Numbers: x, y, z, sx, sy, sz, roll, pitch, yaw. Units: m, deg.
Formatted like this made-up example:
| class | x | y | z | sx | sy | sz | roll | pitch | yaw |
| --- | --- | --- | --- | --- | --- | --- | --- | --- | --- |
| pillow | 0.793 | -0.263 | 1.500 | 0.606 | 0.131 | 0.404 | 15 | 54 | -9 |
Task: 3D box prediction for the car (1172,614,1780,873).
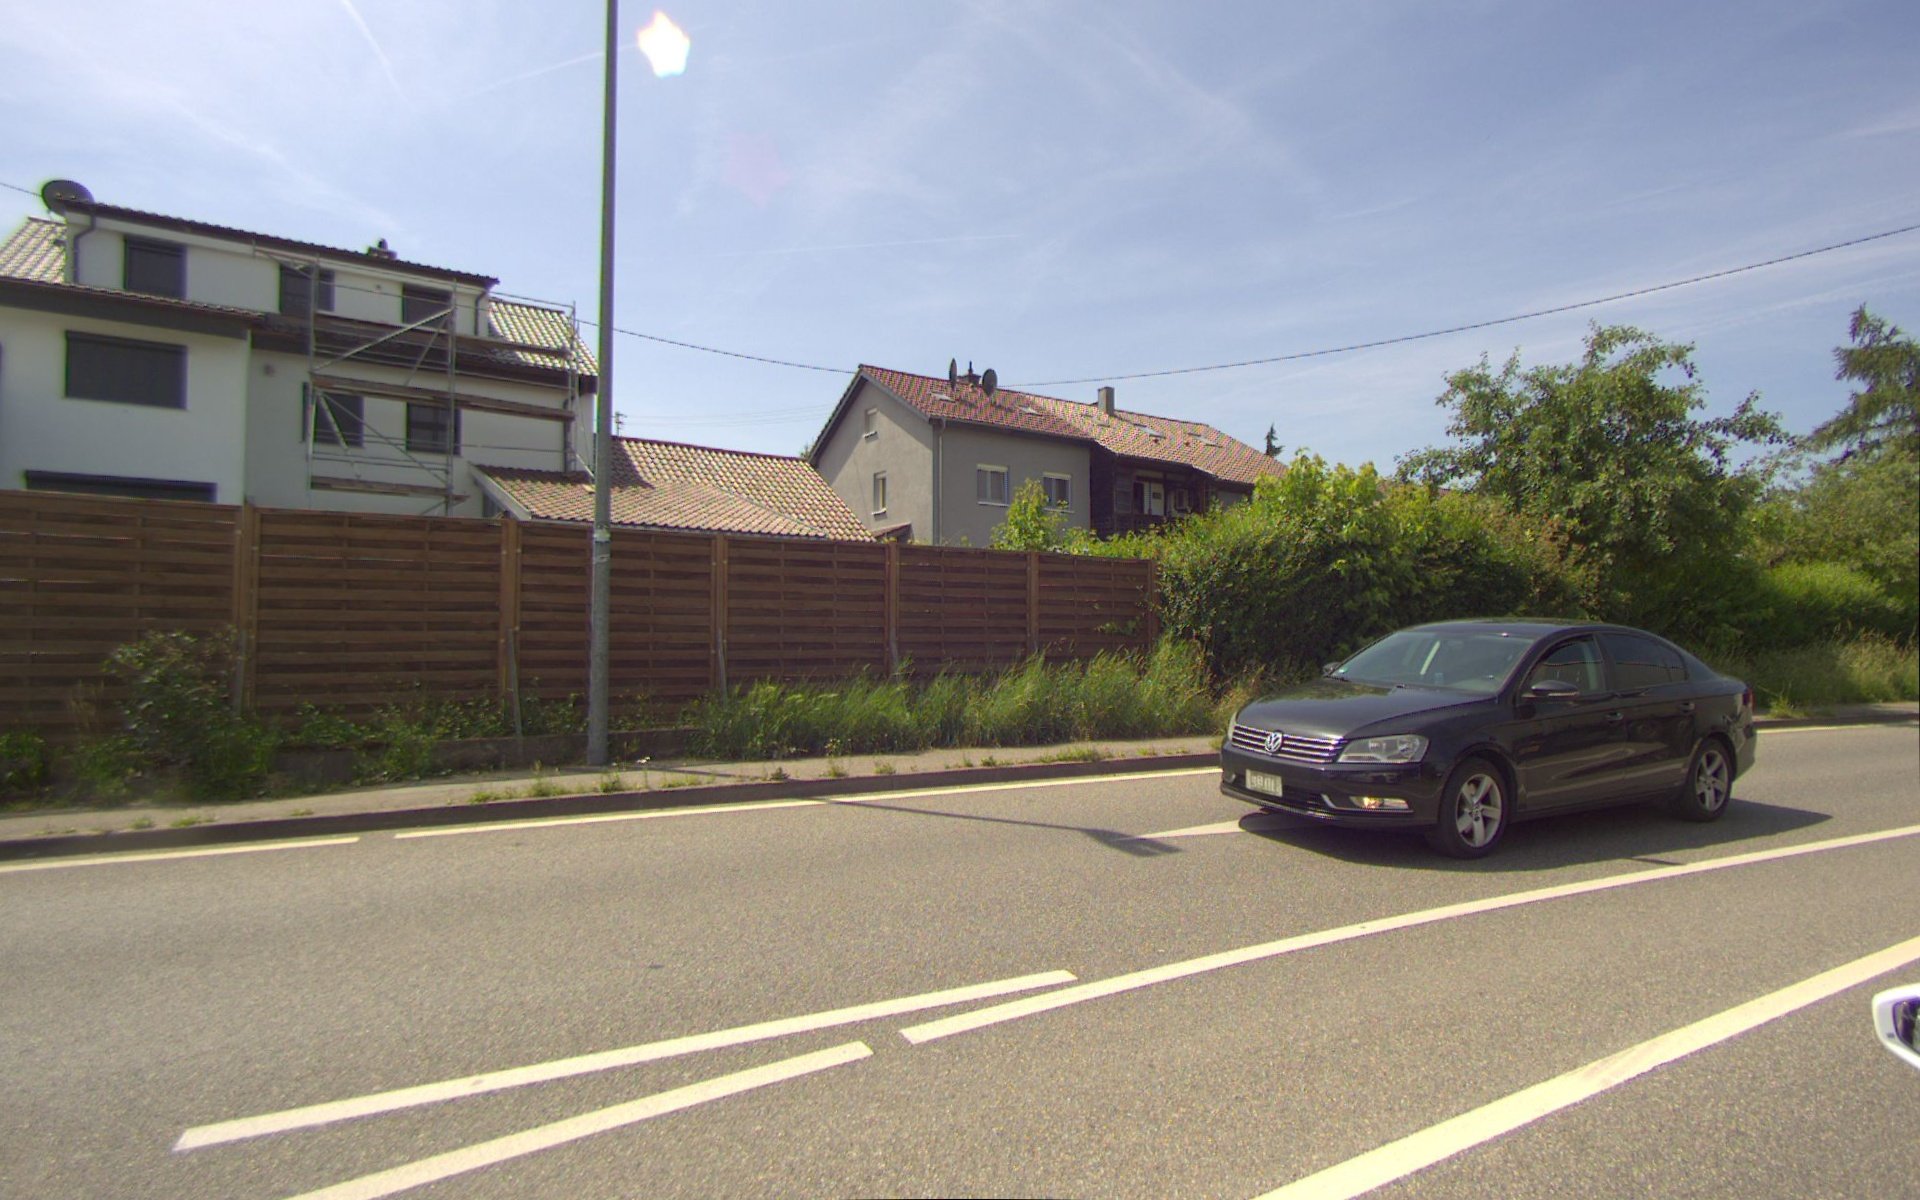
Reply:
| class | x | y | z | sx | sy | sz | roll | pitch | yaw |
| --- | --- | --- | --- | --- | --- | --- | --- | --- | --- |
| car | 3.948 | 0.843 | 7.514 | 4.557 | 1.436 | 1.808 | 1 | 0 | -28 |
